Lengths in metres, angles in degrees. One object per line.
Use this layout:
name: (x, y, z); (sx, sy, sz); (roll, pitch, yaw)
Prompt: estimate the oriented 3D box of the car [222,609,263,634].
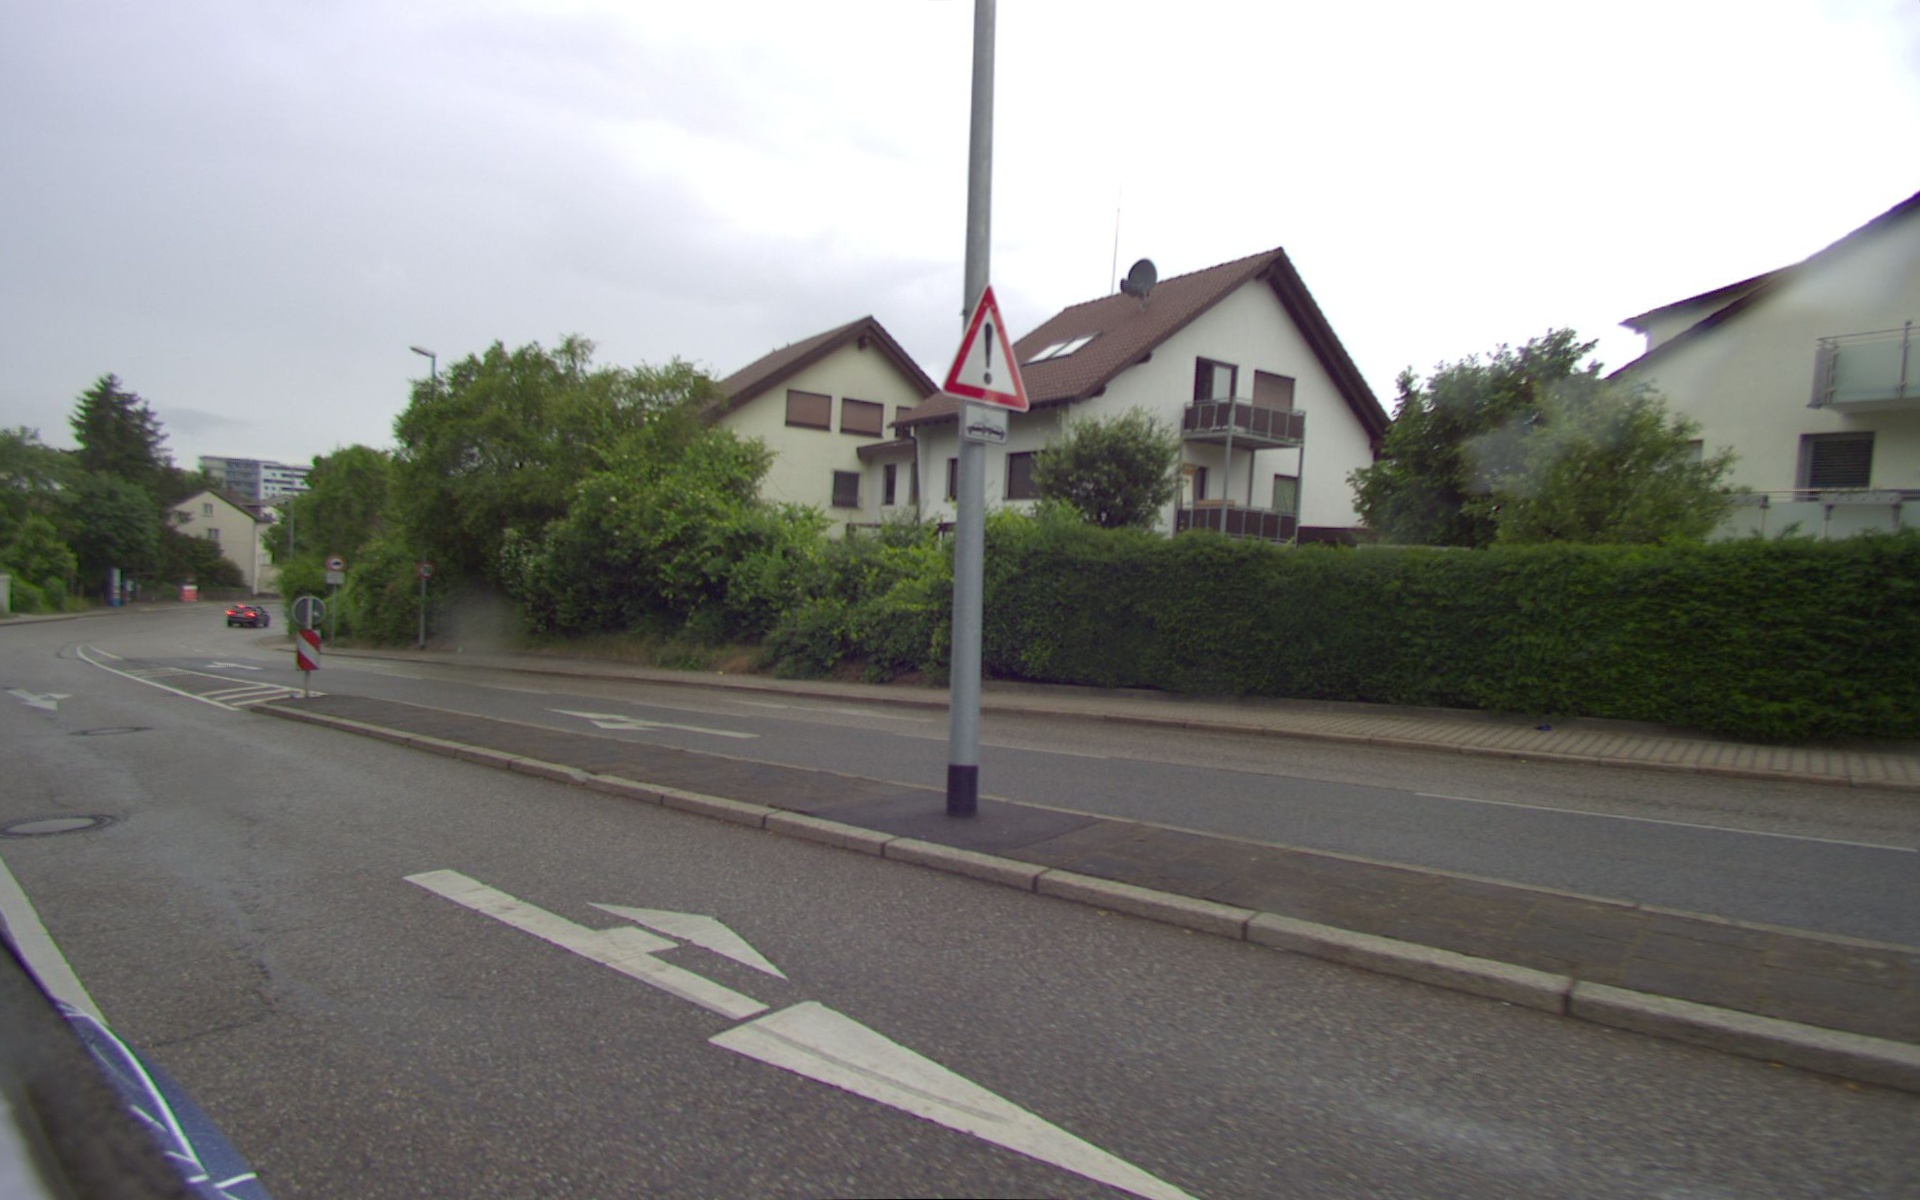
car: (-57.017, 1.729, 80.448); (1.928, 1.860, 4.013); (3, -3, -26)
